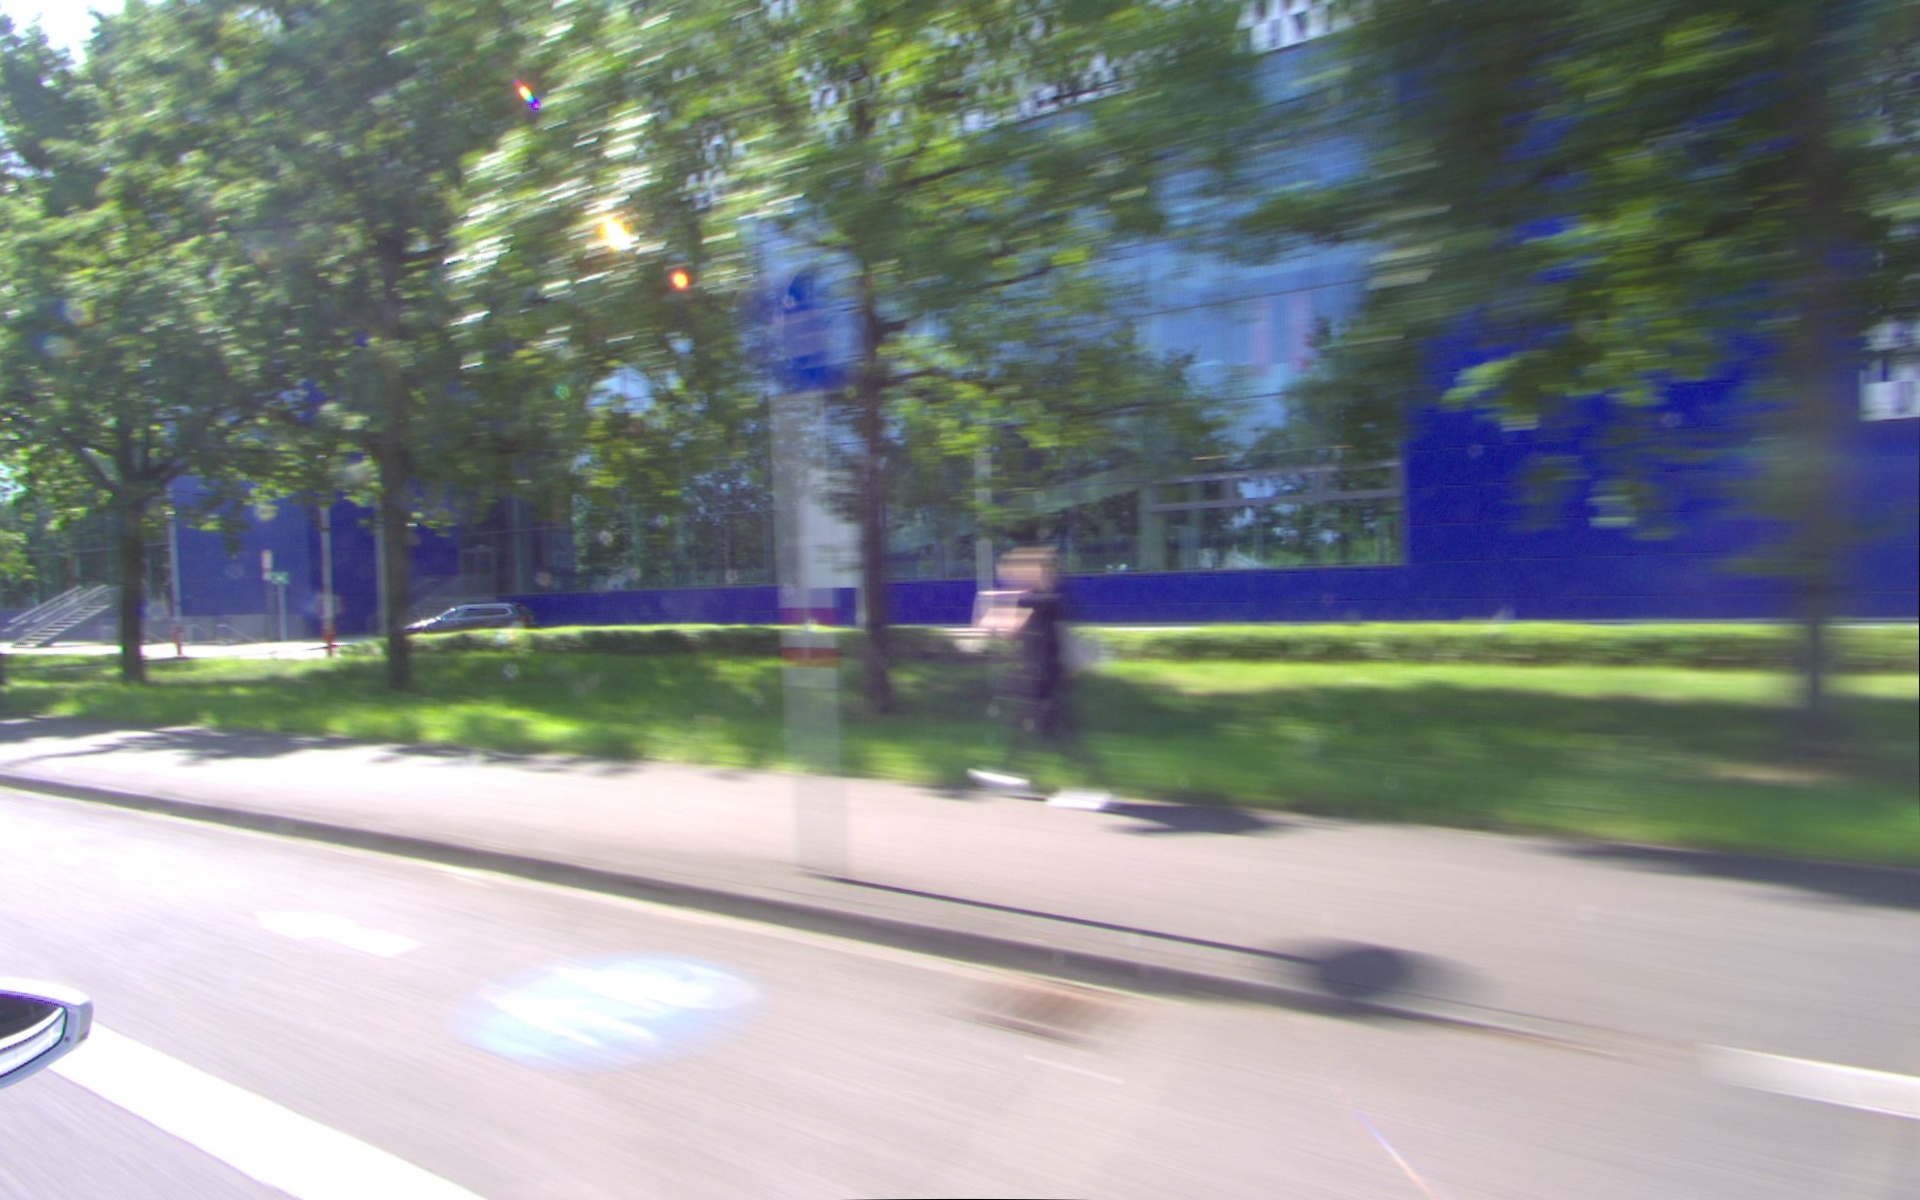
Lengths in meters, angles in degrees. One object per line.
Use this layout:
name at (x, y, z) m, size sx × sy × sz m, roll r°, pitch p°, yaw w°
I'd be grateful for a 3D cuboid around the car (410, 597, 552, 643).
car at (-17.659, 0.708, 37.101) m, size 4.289 × 1.540 × 1.911 m, roll -1°, pitch 1°, yaw -5°

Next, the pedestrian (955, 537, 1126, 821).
pedestrian at (0.506, 0.457, 6.215) m, size 0.834 × 1.625 × 0.645 m, roll -1°, pitch 1°, yaw 31°
